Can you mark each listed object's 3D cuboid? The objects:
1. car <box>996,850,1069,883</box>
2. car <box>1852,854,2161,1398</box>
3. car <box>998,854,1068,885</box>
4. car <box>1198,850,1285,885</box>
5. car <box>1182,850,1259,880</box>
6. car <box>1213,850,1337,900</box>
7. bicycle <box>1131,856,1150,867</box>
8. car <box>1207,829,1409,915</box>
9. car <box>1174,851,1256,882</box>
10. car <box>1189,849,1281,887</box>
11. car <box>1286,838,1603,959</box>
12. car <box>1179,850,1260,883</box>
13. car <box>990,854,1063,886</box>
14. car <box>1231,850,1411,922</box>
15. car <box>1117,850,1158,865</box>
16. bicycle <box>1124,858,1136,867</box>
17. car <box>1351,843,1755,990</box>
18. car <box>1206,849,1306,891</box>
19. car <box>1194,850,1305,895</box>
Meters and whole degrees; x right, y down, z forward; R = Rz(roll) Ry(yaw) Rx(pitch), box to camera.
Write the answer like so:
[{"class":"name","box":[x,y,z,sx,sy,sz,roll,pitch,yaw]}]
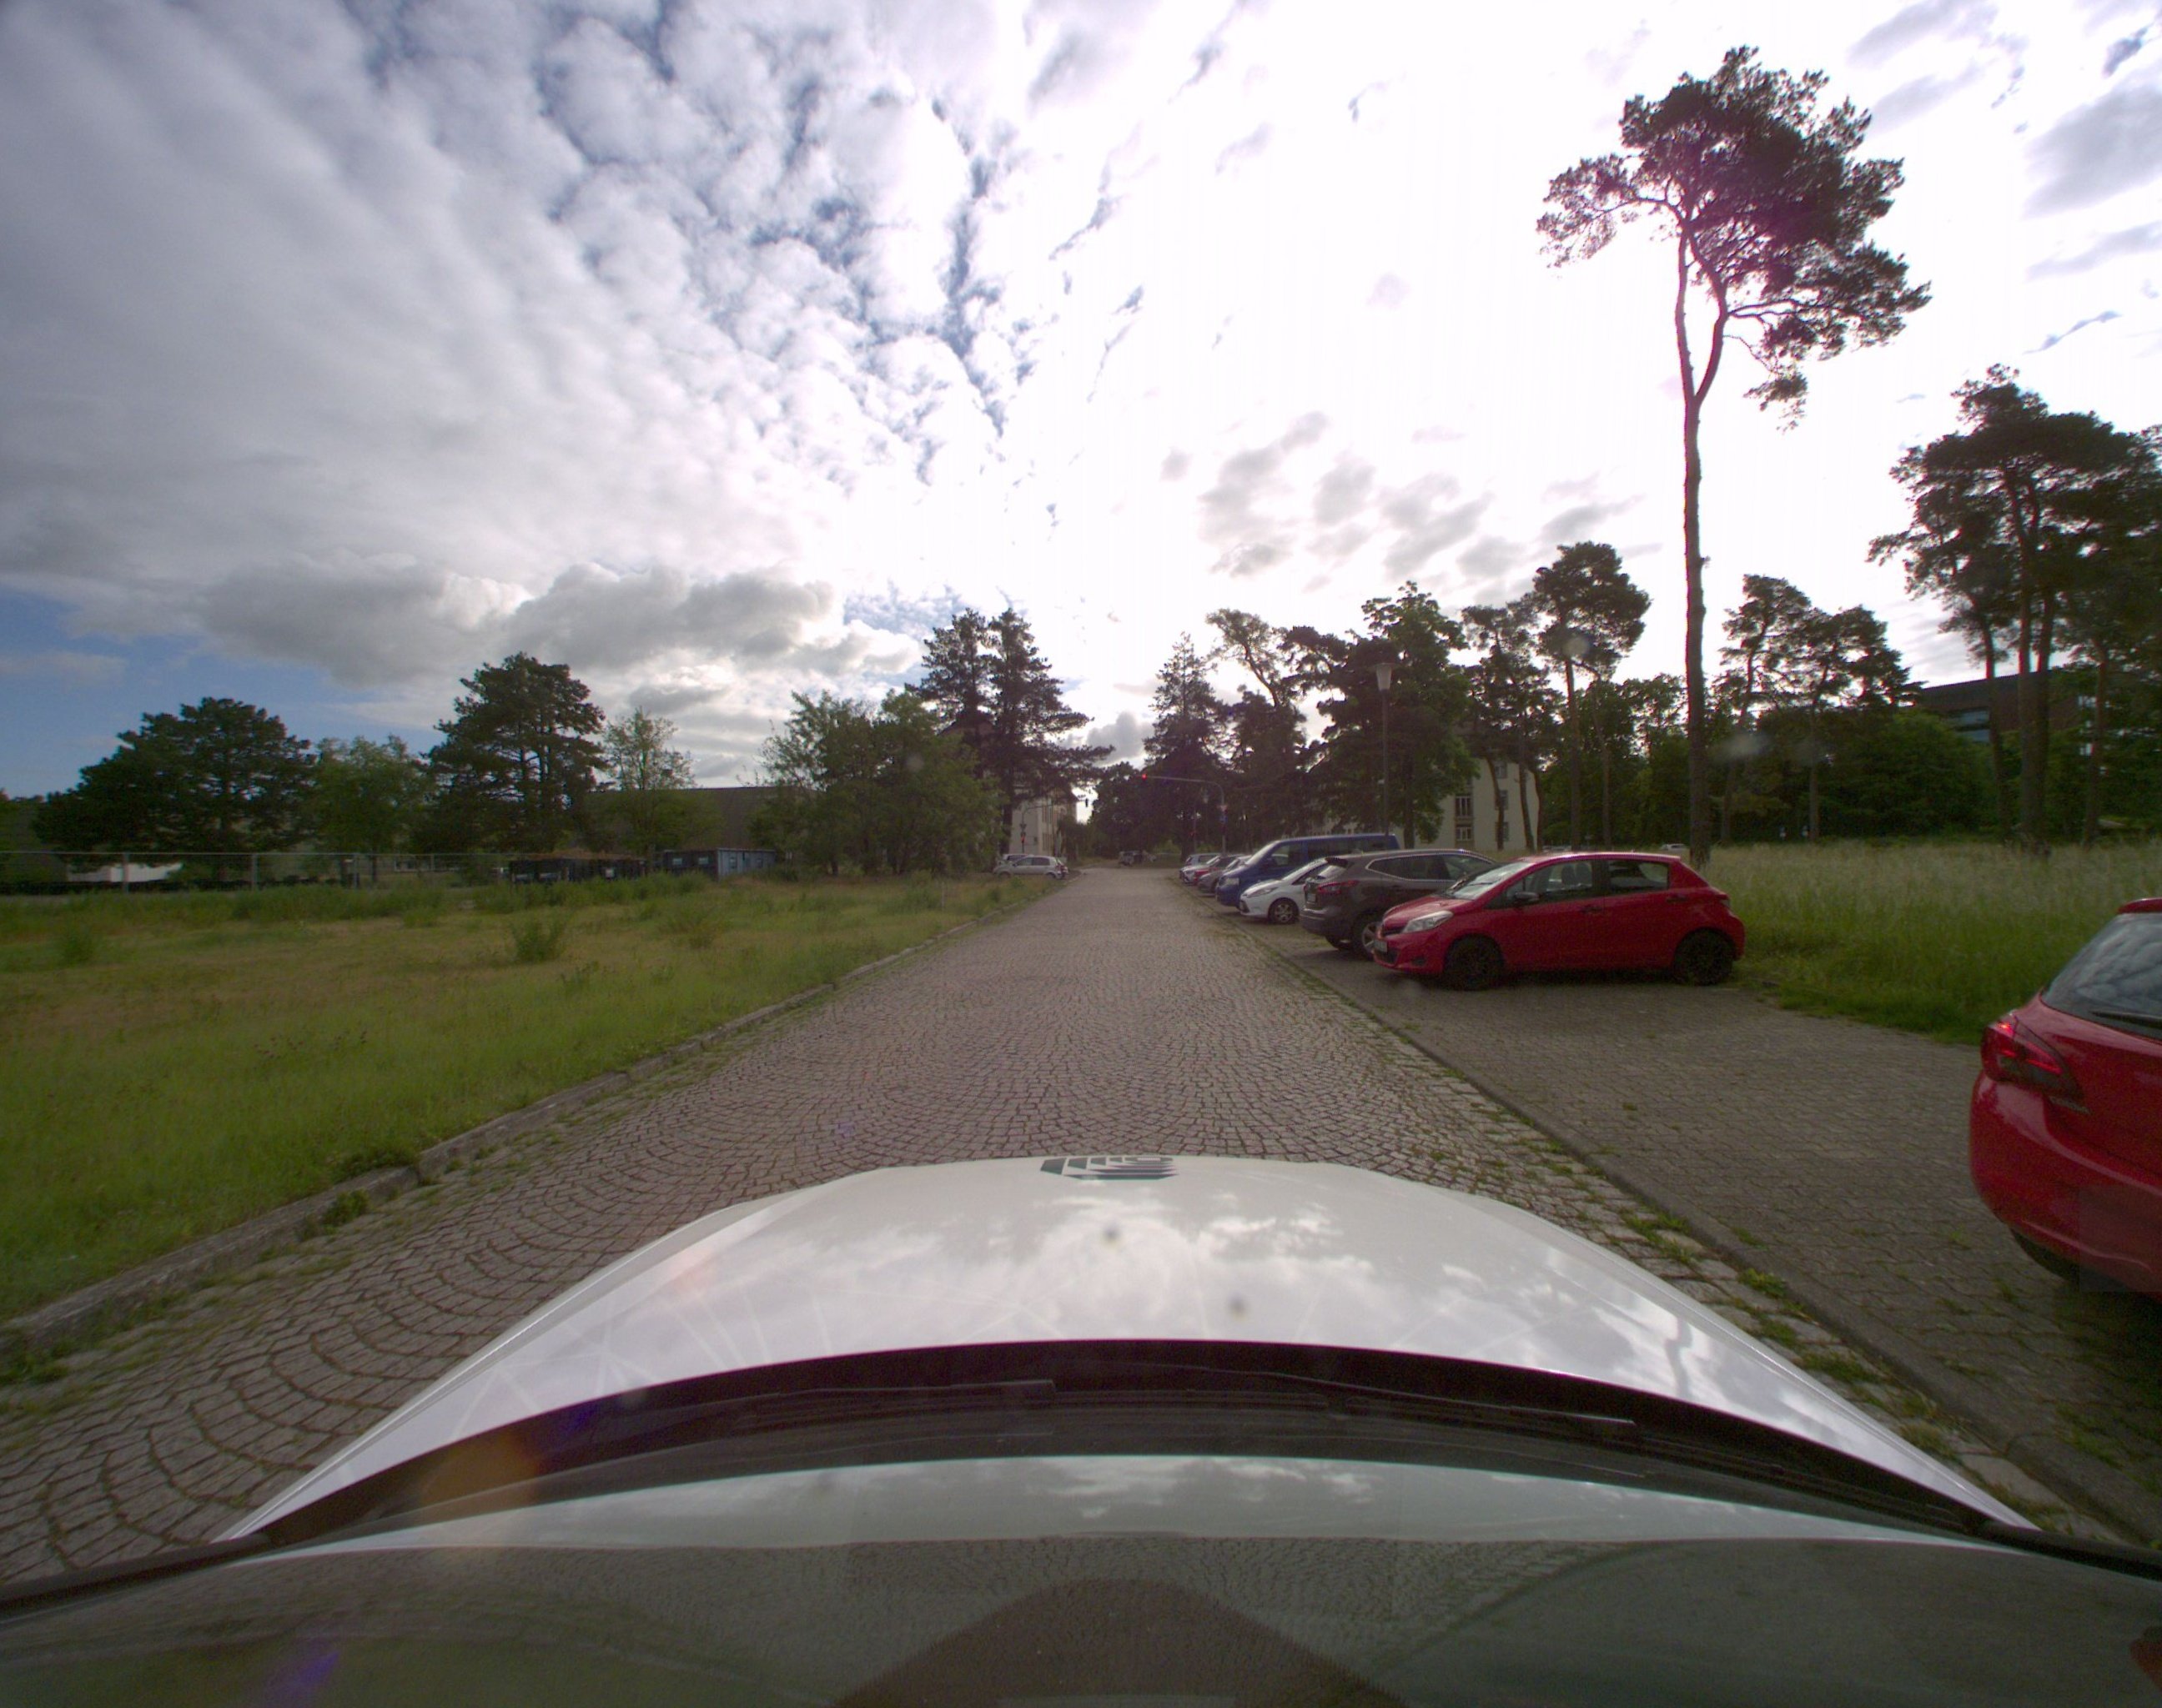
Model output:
[{"class":"car","box":[-2.936,0.745,49.992,4.245,1.840,1.745,-2,-1,2]},{"class":"car","box":[4.856,0.691,2.175,3.810,1.460,1.780,-2,-1,2]},{"class":"car","box":[-2.762,0.898,46.989,3.806,1.572,1.565,-2,-1,2]},{"class":"car","box":[7.317,0.609,37.374,3.658,1.449,1.524,-2,-1,1]},{"class":"car","box":[7.692,0.599,45.130,3.956,1.421,1.619,-2,-1,-2]},{"class":"car","box":[6.295,0.679,26.643,3.658,1.449,1.524,-2,-1,1]},{"class":"bicycle","box":[6.928,0.850,94.196,2.131,1.215,0.621,0,0,-2]},{"class":"car","box":[5.840,0.454,21.377,4.737,1.954,1.932,-2,-1,1]},{"class":"car","box":[6.967,0.628,42.510,3.956,1.421,1.619,-2,-1,-2]},{"class":"car","box":[6.596,0.615,35.120,3.658,1.449,1.524,-2,-1,1]},{"class":"car","box":[5.369,0.637,12.411,4.015,1.552,1.751,-2,-1,0]},{"class":"car","box":[6.712,0.624,39.661,3.661,1.421,1.523,-2,-1,-2]},{"class":"car","box":[-2.948,0.860,44.577,3.809,1.572,1.564,-2,-1,0]},{"class":"car","box":[5.448,0.711,18.797,3.659,1.449,1.615,-2,-1,0]},{"class":"car","box":[7.756,0.446,112.104,5.439,2.013,2.264,0,0,-6]},{"class":"bicycle","box":[5.388,0.955,90.193,0.623,0.945,1.650,0,0,-24]},{"class":"car","box":[5.413,0.692,9.753,3.776,1.460,1.752,-2,-1,3]},{"class":"car","box":[6.912,0.627,32.393,3.658,1.449,1.524,-2,-1,1]},{"class":"car","box":[6.038,0.656,29.441,3.658,1.449,1.524,-2,-1,1]}]
